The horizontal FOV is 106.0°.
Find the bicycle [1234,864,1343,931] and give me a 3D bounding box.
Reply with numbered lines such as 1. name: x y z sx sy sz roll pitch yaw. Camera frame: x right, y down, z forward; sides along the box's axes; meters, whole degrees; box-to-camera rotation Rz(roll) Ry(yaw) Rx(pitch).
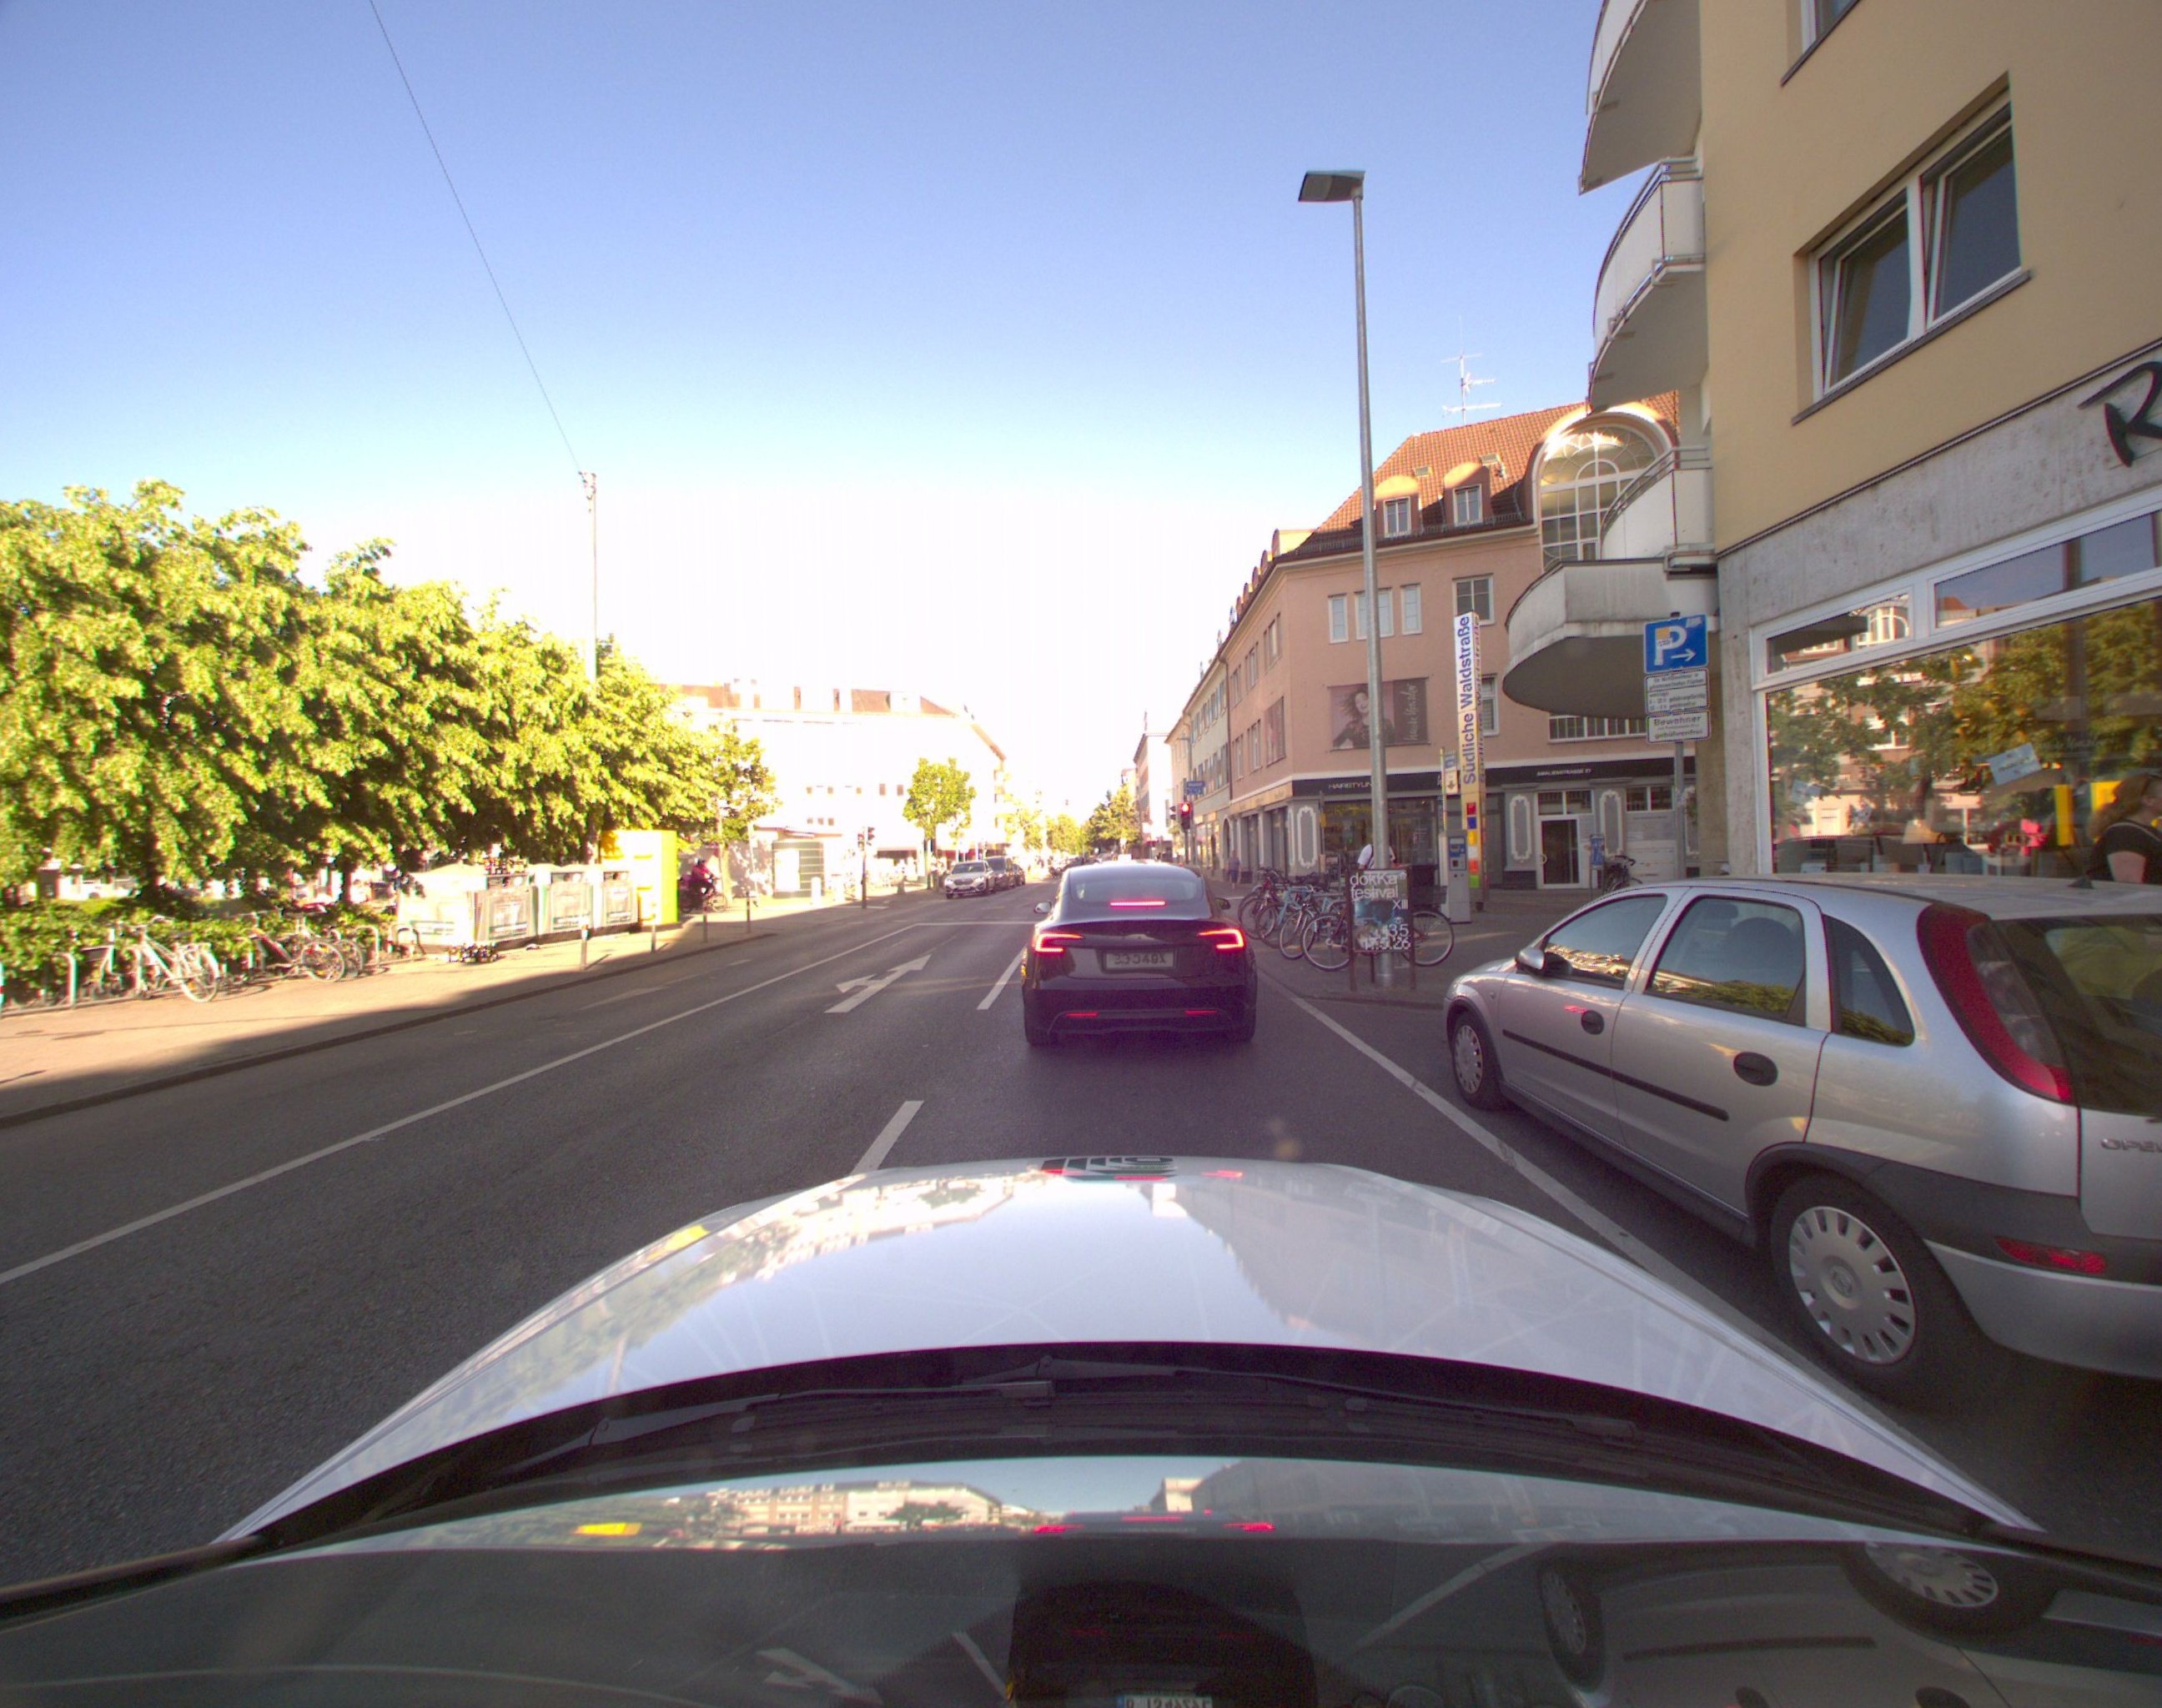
1. bicycle: 3.739 0.781 14.769 1.806 1.152 0.653 -1 0 3

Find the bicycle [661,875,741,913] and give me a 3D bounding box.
1. bicycle: -12.821 1.349 27.501 2.376 1.151 0.714 -3 -1 8

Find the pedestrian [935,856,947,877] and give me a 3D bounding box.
1. pedestrian: -13.600 1.242 79.037 0.926 2.014 0.852 0 -1 -23

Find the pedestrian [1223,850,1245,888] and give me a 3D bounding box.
1. pedestrian: 6.342 0.600 33.719 0.786 1.549 0.724 0 -1 2

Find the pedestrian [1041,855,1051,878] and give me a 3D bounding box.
1. pedestrian: -2.741 0.999 63.592 0.660 1.760 0.649 0 -1 -22

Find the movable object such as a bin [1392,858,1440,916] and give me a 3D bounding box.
1. movable object such as a bin: 6.746 0.657 16.420 0.633 1.103 0.728 -4 -1 5

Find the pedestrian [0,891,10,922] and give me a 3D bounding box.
1. pedestrian: -55.673 2.700 41.824 0.827 1.520 0.782 -1 -1 38

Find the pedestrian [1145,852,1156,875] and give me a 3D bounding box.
1. pedestrian: 5.902 0.815 68.783 0.701 1.877 0.813 -1 -1 22

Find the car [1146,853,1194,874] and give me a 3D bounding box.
1. car: 8.148 0.873 74.647 4.006 1.867 1.686 -1 0 -20

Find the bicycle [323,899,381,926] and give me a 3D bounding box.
1. bicycle: -26.019 2.086 29.062 1.840 0.823 0.583 -4 -1 14

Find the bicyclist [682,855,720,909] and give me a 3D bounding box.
1. bicyclist: -12.834 0.939 27.505 0.859 1.755 0.683 -3 -2 9

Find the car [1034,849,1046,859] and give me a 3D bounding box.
1. car: -9.018 -0.006 180.135 2.266 2.014 4.720 0 -1 3

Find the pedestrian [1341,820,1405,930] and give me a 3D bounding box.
1. pedestrian: 5.041 0.353 14.099 0.805 1.823 0.984 0 -1 5

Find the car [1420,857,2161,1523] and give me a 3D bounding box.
1. car: 2.962 0.736 3.544 1.578 1.426 3.581 0 -1 2

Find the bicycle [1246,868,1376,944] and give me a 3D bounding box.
1. bicycle: 3.520 0.789 12.564 1.806 1.102 0.653 -1 0 3

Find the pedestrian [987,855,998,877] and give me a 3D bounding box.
1. pedestrian: -6.997 0.927 64.493 0.844 1.760 0.704 0 -1 -12

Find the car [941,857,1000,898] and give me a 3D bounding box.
1. car: -4.882 1.016 36.595 1.818 1.565 4.302 -5 -1 2

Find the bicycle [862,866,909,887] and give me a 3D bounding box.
1. bicycle: -12.053 1.388 50.299 2.655 1.259 0.942 0 -1 -1

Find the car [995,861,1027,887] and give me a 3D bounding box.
1. car: -4.255 1.206 50.044 1.455 1.430 3.607 -5 -1 2

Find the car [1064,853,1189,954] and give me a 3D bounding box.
1. car: 0.744 0.748 14.304 1.843 1.482 4.453 0 0 2

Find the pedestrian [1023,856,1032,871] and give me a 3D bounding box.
1. pedestrian: -6.374 1.128 96.868 0.738 1.868 0.782 0 -1 -35

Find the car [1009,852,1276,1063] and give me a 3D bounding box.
1. car: 0.498 0.737 7.880 1.843 1.447 4.453 0 0 2

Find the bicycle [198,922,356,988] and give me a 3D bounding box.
1. bicycle: -11.424 1.423 11.600 1.667 0.859 0.469 0 -1 -5

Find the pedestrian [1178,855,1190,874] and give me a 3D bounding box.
1. pedestrian: 9.242 0.909 73.322 0.812 1.713 0.702 0 -1 -35

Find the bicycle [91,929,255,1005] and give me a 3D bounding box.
1. bicycle: -11.460 1.417 10.303 1.560 0.886 0.470 0 -1 1

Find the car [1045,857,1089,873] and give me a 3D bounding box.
1. car: -1.420 1.117 82.341 4.133 1.530 1.541 -1 0 -20

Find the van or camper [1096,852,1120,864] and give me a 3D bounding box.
1. van or camper: 5.635 0.857 167.658 4.832 2.438 1.851 -1 0 1

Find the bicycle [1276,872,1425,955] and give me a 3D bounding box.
1. bicycle: 3.658 0.796 11.153 1.806 1.060 0.653 -1 0 3

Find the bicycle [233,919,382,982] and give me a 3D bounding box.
1. bicycle: -11.459 1.425 12.099 1.663 0.859 0.469 0 -1 -5

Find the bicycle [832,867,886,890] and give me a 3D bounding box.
1. bicycle: -12.392 1.372 45.585 2.772 1.274 0.933 0 -1 -2

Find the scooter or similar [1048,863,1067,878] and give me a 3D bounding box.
1. scooter or similar: -1.863 1.270 64.110 1.339 1.134 0.804 0 -1 -23

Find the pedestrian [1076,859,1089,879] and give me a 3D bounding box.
1. pedestrian: 0.133 1.222 66.301 0.812 1.609 0.702 0 -1 -35

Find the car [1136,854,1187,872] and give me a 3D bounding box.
1. car: 8.640 0.951 87.295 5.213 1.866 1.871 -1 0 -20

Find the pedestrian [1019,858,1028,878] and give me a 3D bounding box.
1. pedestrian: -4.592 1.122 64.853 0.704 1.609 0.606 0 -1 -7

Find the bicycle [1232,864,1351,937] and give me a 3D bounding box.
1. bicycle: 3.498 0.773 13.640 1.806 1.152 0.653 -1 0 3

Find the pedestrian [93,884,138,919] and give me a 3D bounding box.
1. pedestrian: -53.175 2.574 44.886 1.103 1.842 1.291 0 -1 -23

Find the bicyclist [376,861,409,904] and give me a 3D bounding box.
1. bicyclist: -27.643 1.128 32.699 0.801 1.709 0.706 -1 -1 18

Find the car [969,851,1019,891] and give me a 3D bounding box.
1. car: -4.494 0.836 42.918 1.938 1.947 4.822 -1 0 2

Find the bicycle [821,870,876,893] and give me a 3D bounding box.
1. bicycle: -12.324 1.439 43.242 2.652 1.195 0.942 0 -1 -1

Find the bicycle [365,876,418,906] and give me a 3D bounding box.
1. bicycle: -27.691 1.480 32.721 1.936 1.162 0.621 0 -1 16

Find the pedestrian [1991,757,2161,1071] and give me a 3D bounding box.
1. pedestrian: 6.201 0.331 4.871 0.777 1.754 0.728 -5 -1 37

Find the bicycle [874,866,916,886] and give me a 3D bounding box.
1. bicycle: -11.998 1.402 52.574 2.535 1.251 0.942 0 -1 -1

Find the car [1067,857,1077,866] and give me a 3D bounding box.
1. car: -1.996 1.784 187.426 2.124 1.970 4.135 -1 0 2

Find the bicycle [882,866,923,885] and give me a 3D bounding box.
1. bicycle: -12.052 1.422 55.002 2.535 1.251 0.942 0 -1 -1

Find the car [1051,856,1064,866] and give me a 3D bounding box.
1. car: -4.857 1.328 166.806 2.405 1.970 4.679 -1 0 2

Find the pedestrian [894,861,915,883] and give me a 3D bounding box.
1. pedestrian: -12.888 1.315 59.369 1.101 1.611 1.253 0 -1 -35

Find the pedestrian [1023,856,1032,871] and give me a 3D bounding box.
1. pedestrian: -6.445 1.135 97.685 0.726 1.868 0.796 -1 -1 30

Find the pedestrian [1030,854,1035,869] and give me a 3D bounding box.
1. pedestrian: -6.214 0.981 104.222 0.693 1.868 0.658 0 -1 -3

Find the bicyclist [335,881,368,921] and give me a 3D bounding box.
1. bicyclist: -26.045 1.679 29.074 0.701 1.381 0.577 -3 -2 14

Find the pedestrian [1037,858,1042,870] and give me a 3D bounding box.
1. pedestrian: -6.519 1.506 127.351 0.694 1.868 0.908 0 -1 -6

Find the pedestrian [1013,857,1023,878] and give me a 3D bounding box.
1. pedestrian: -5.065 1.084 65.433 0.650 1.609 0.589 0 -1 -12

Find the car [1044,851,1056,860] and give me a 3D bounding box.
1. car: -7.162 0.297 188.730 2.266 2.014 4.720 0 -1 3

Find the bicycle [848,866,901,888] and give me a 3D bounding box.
1. bicycle: -12.153 1.365 47.981 2.867 1.270 0.942 0 -1 -1

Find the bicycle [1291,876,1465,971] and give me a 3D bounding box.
1. bicycle: 3.638 0.843 10.080 1.875 1.044 0.653 -2 0 3
